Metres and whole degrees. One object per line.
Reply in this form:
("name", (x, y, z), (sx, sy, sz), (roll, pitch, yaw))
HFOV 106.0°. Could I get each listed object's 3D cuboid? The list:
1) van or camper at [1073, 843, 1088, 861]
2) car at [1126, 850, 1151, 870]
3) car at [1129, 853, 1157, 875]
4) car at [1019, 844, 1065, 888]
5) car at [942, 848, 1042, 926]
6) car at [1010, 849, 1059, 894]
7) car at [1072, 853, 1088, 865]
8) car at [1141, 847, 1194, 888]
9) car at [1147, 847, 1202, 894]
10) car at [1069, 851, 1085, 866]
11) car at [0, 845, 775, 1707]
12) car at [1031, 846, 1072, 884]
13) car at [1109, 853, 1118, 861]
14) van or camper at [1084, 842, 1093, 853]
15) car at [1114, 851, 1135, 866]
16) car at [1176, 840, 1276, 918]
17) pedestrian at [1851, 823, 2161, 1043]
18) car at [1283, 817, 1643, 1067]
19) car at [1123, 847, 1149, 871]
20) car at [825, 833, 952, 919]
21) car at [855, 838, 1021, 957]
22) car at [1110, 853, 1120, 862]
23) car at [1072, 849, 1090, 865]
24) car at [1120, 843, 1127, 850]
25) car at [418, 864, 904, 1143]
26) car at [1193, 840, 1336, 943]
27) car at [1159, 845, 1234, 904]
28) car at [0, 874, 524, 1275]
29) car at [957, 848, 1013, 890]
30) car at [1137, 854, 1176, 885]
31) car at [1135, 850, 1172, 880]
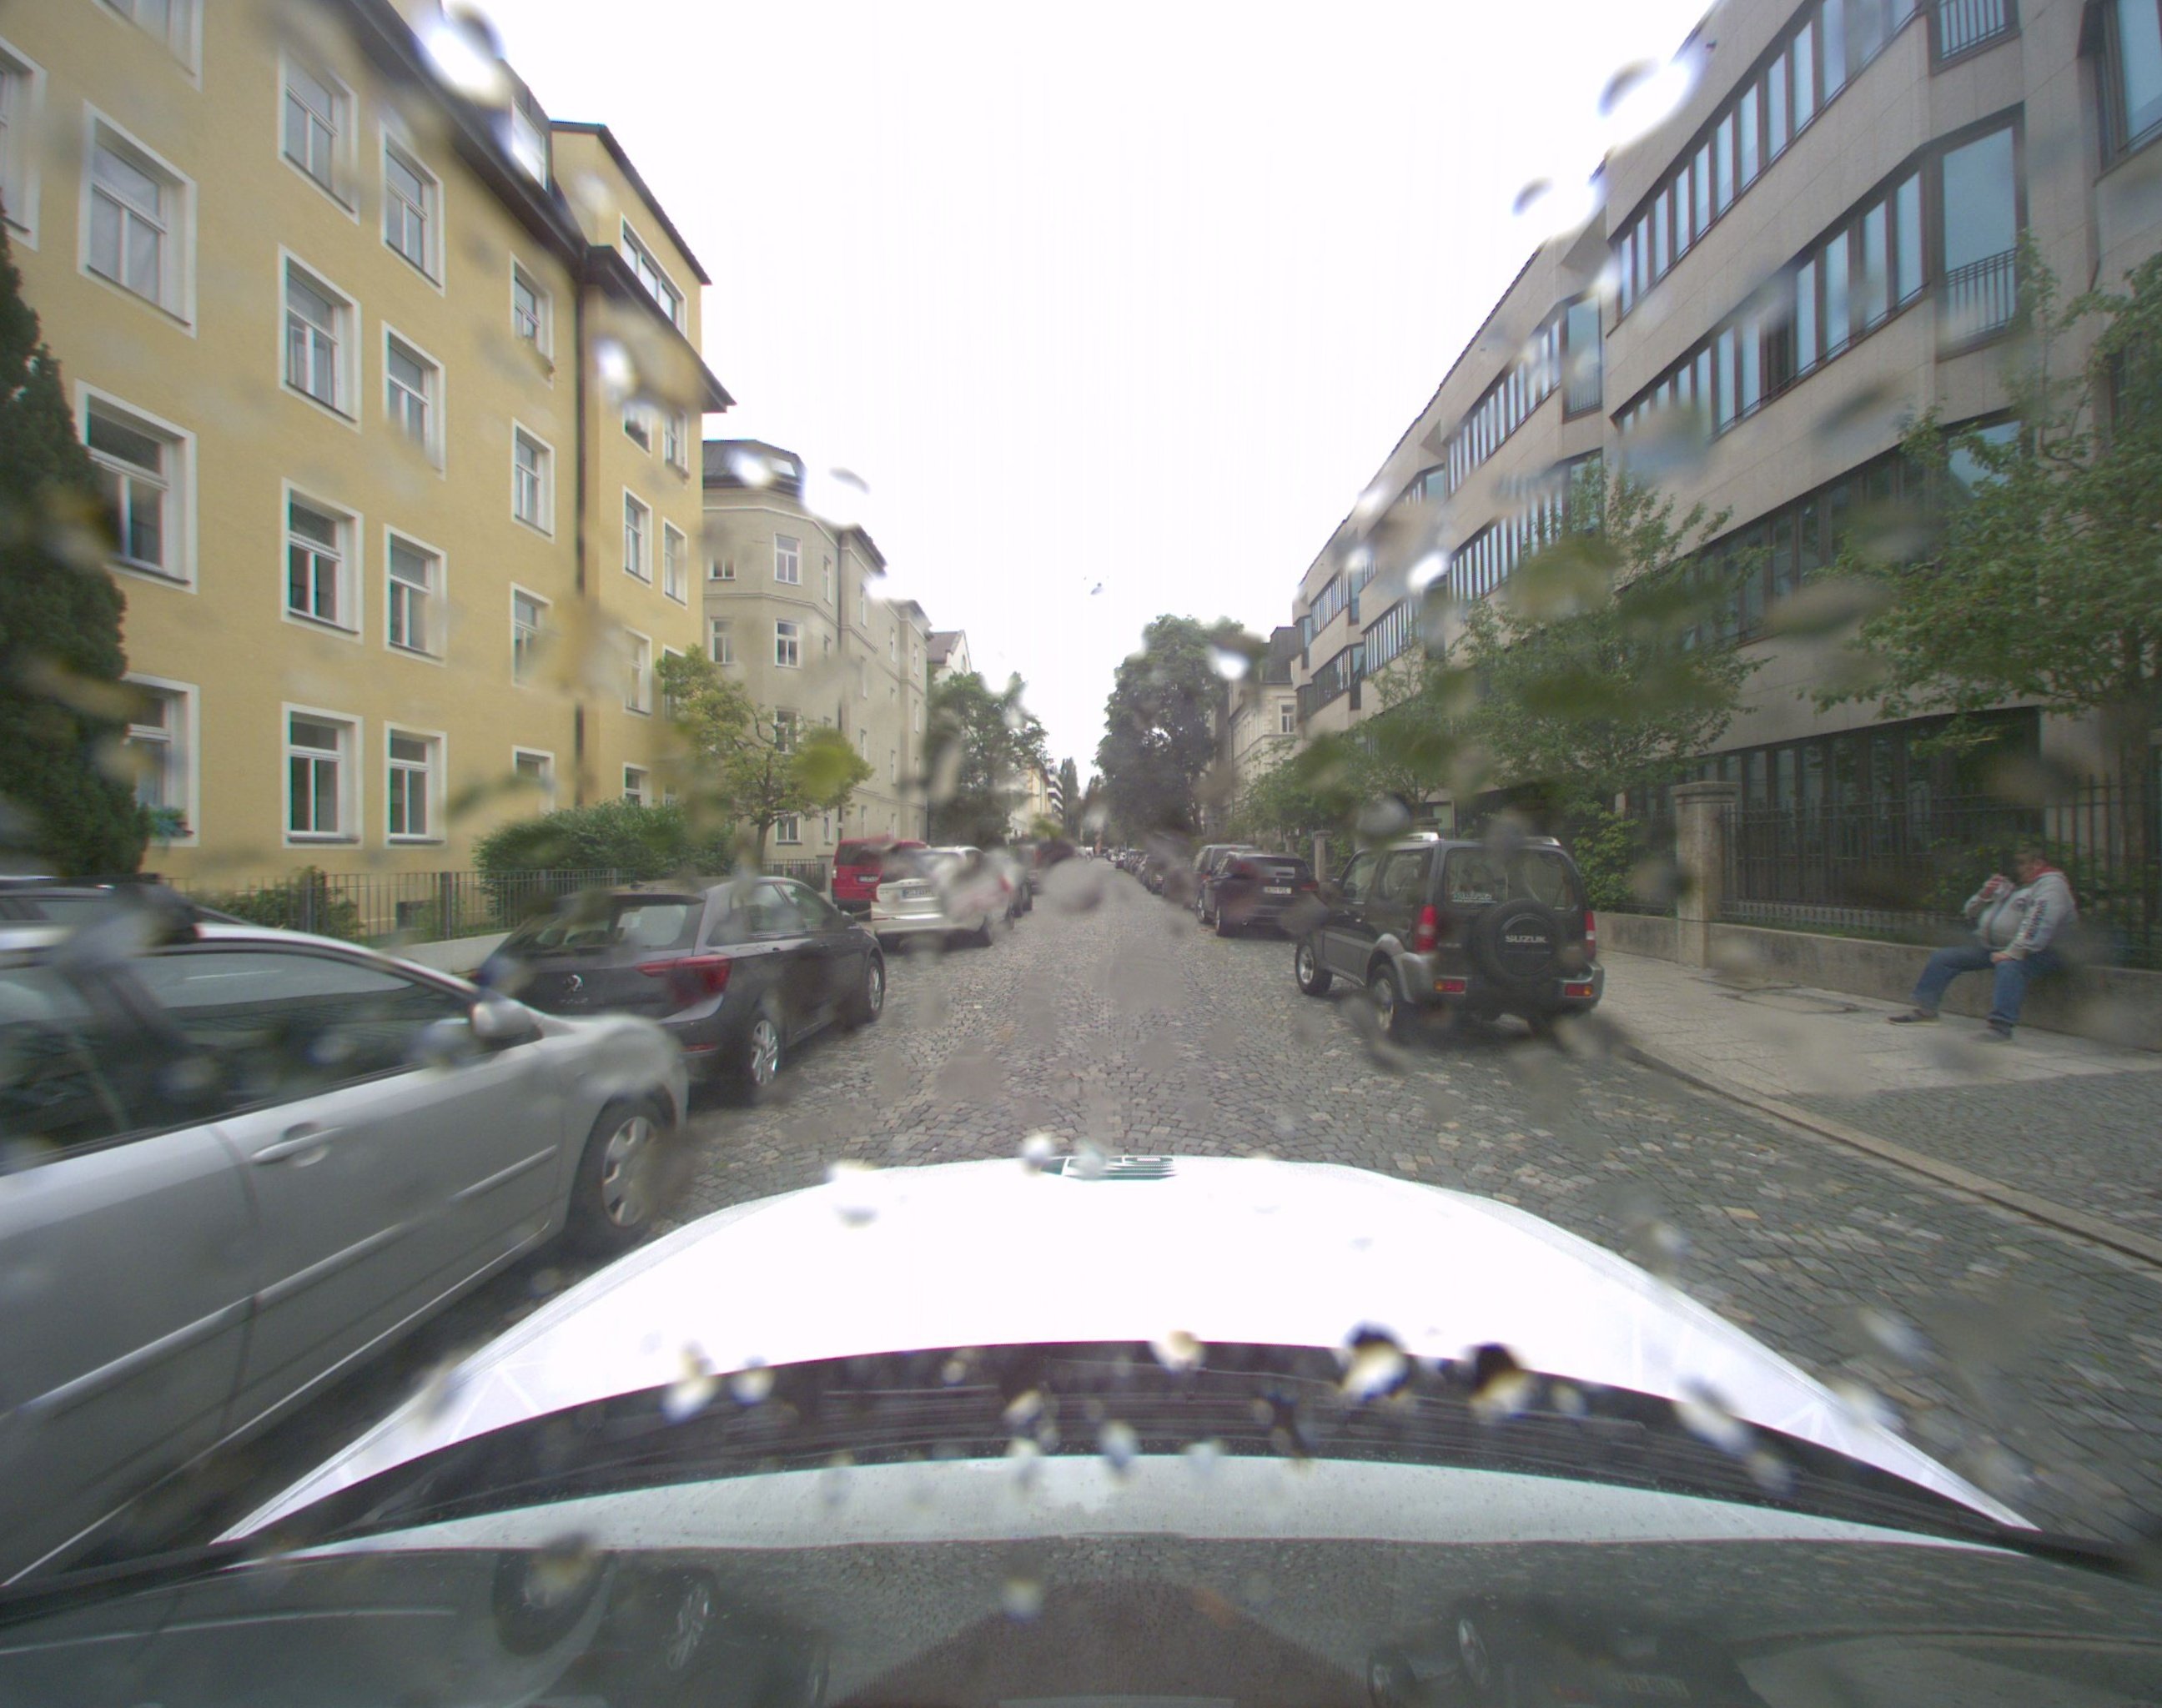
("van or camper", (-0.003, -0.323, 124.132), (1.986, 2.652, 4.002), (-4, 0, 2))
("car", (4.620, 0.462, 65.699), (1.830, 1.490, 4.424), (2, 0, 2))
("car", (4.446, 0.697, 58.733), (1.708, 1.472, 4.268), (2, 0, 0))
("car", (-1.845, 0.548, 40.047), (1.867, 1.917, 4.827), (-3, 0, 0))
("car", (-2.278, 0.808, 22.123), (1.910, 1.735, 4.757), (-5, 0, 2))
("car", (-1.929, 0.693, 35.155), (1.860, 1.735, 4.401), (-3, 0, -1))
("car", (-0.115, 0.697, 109.170), (1.864, 1.580, 4.213), (1, 0, 5))
("car", (4.020, 0.590, 38.609), (1.868, 1.735, 4.745), (3, 0, -1))
("car", (3.673, 0.616, 32.671), (1.865, 1.735, 4.895), (1, 0, 3))
("car", (-0.465, 0.559, 103.703), (1.867, 1.776, 4.122), (-4, 0, 0))
("car", (-2.580, 0.806, 2.186), (1.707, 1.562, 4.391), (-3, 0, 1))
("car", (-1.624, 0.577, 46.579), (1.986, 1.917, 5.177), (-4, 0, 0))
("car", (6.674, 0.568, 165.663), (1.783, 1.520, 4.002), (-1, 0, 2))
("van or camper", (2.035, -1.604, 208.707), (2.248, 2.742, 5.099), (0, 0, 1))
("car", (4.432, 0.447, 83.341), (1.867, 1.503, 4.510), (2, 0, -1))
("car", (3.742, 0.597, 21.762), (1.782, 1.796, 4.509), (3, 0, 0))
("pedestrian", (7.160, 0.560, 6.331), (1.212, 1.493, 1.130), (-3, 0, 3))
("car", (3.249, 0.634, 7.840), (1.613, 1.751, 3.887), (2, 0, 0))
("car", (4.789, 0.402, 71.329), (1.867, 1.928, 5.162), (2, 0, -1))
("car", (-4.793, 0.495, 21.155), (1.987, 1.931, 5.330), (1, 0, 0))
("car", (-2.469, 0.687, 15.559), (1.998, 1.809, 5.177), (-3, 0, 2))
("car", (6.091, 0.600, 145.003), (1.783, 1.520, 4.002), (-1, 0, 2))
("car", (-0.012, 0.301, 91.120), (1.868, 1.580, 4.254), (-4, 0, -1))
("car", (12.852, -2.394, 248.068), (1.986, 2.014, 4.002), (-1, 0, 2))
("car", (-2.783, 0.864, 6.533), (1.723, 1.418, 3.937), (-3, 0, 1))
("car", (3.467, 0.640, 16.322), (1.854, 1.702, 4.814), (2, 0, 1))
("car", (3.821, 0.631, 27.697), (1.867, 1.735, 4.659), (3, 0, 0))
("car", (-5.152, 0.918, 3.819), (1.709, 1.497, 4.722), (1, 0, 1))
("car", (-4.370, 0.640, 37.700), (1.938, 1.735, 4.657), (2, 0, 0))
("car", (3.997, 0.804, 43.744), (1.865, 1.490, 4.621), (1, 1, 3))
("car", (4.295, 0.634, 48.720), (1.866, 1.670, 4.659), (2, 0, 1))
